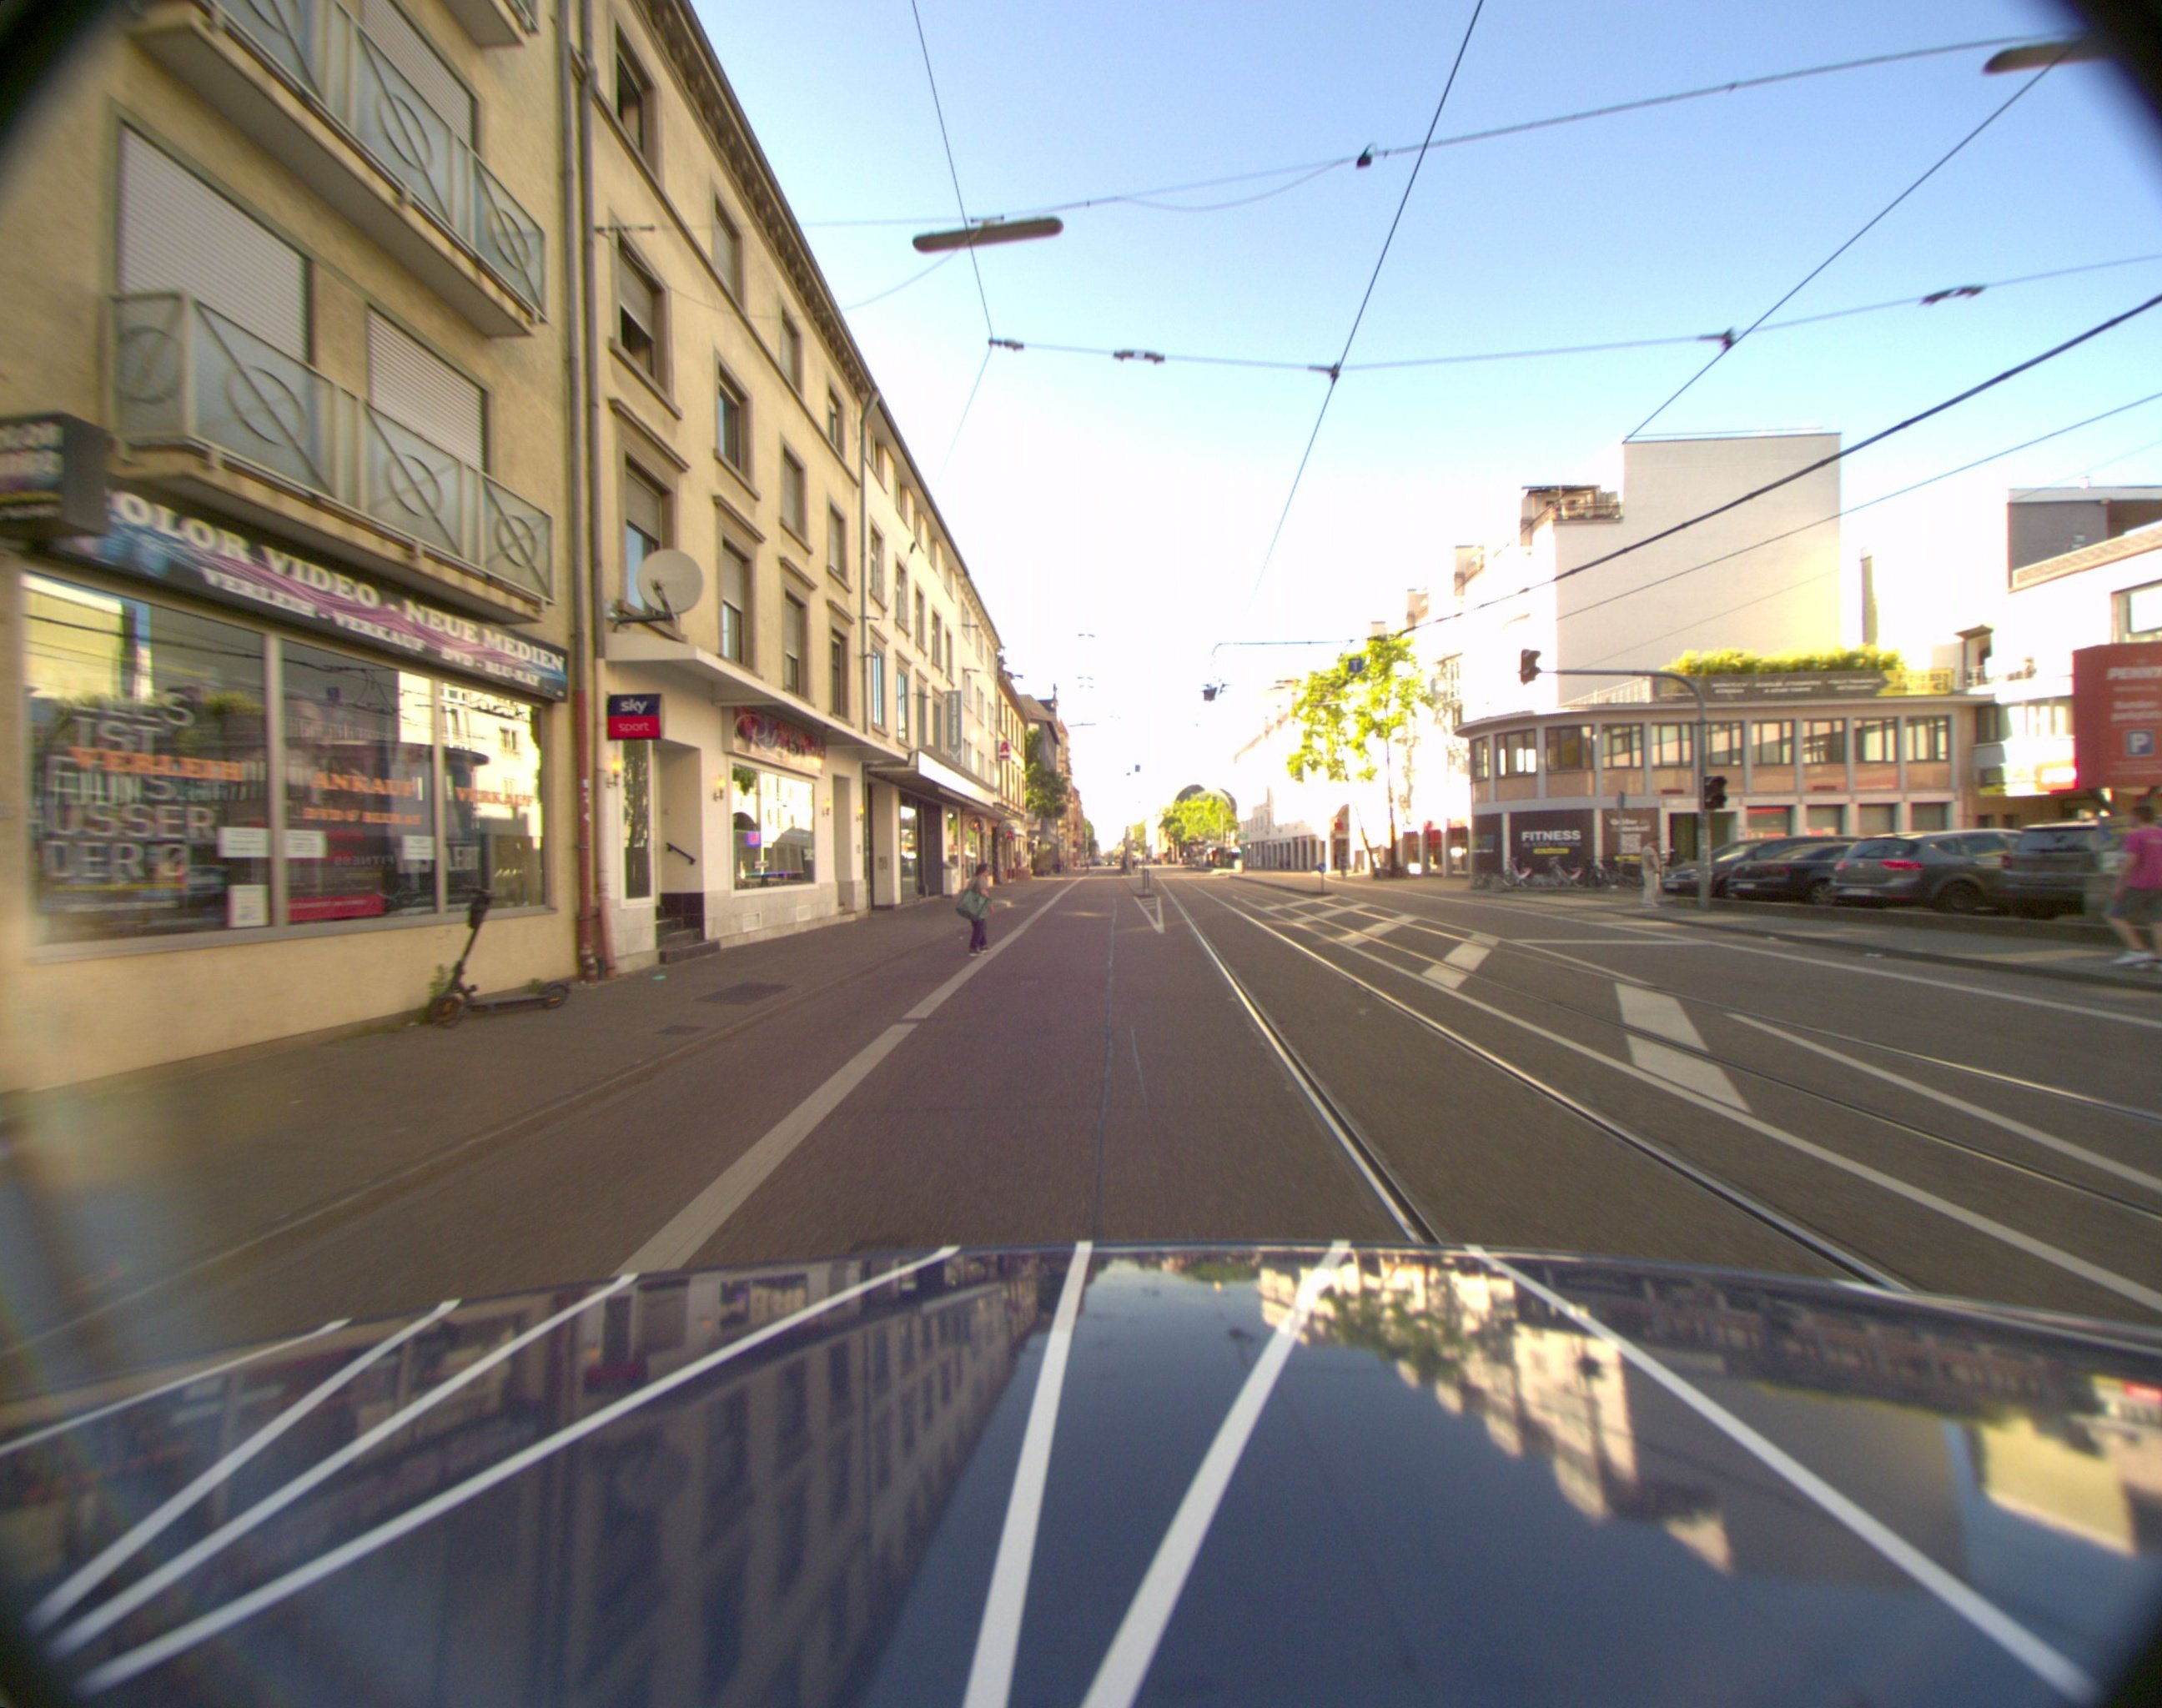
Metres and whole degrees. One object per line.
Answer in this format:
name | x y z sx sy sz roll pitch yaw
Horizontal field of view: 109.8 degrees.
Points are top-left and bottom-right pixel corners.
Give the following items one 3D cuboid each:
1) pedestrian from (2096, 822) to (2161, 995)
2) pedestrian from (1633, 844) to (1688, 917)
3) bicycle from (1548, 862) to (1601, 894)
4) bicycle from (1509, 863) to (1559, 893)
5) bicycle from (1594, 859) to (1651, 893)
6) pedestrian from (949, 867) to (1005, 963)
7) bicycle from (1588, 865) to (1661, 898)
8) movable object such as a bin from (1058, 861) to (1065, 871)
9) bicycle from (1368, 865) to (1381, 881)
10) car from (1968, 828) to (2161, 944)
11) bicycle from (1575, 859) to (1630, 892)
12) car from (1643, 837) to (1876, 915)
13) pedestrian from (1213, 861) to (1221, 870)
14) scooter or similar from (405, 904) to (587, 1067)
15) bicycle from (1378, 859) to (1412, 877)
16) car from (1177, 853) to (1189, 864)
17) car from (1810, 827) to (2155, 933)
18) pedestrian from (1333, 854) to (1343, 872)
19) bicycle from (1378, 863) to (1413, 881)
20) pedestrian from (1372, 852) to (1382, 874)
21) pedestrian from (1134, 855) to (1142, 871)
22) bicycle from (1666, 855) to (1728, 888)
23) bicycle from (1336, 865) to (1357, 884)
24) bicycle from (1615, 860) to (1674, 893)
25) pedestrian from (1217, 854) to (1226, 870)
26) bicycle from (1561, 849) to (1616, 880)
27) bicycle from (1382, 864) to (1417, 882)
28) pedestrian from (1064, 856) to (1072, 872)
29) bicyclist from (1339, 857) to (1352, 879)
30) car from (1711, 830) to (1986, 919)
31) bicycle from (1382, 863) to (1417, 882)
pedestrian | 12.392 0.601 8.676 0.639 1.935 0.709 -1 0 1
pedestrian | 14.234 0.636 18.689 0.715 1.753 0.780 -1 0 -5
bicycle | 16.934 0.806 26.122 0.464 1.073 1.878 -1 0 -6
bicycle | 16.279 0.852 27.347 0.525 1.030 1.878 -1 0 -6
bicycle | 18.597 0.737 26.139 0.464 1.071 1.878 -1 0 -5
pedestrian | -1.737 1.013 12.752 0.780 1.551 0.650 -1 0 4
bicycle | 17.600 0.878 24.641 1.874 1.030 0.426 -1 0 27
movable object such as a bin | -2.161 1.294 83.417 0.717 1.062 0.637 -2 0 1
bicycle | 17.919 1.166 46.405 0.470 0.926 1.755 -1 0 12
car | 16.696 0.479 11.775 3.698 1.663 1.785 1 0 2
bicycle | 17.951 0.714 26.213 0.464 1.081 1.878 -1 0 -5
car | 17.155 0.533 19.372 4.243 1.753 1.785 -2 0 2
pedestrian | 14.890 1.300 83.363 0.794 0.982 0.748 -1 0 3
scooter or similar | -5.290 1.132 6.958 0.410 1.274 1.285 -1 0 18
bicycle | 19.588 0.877 47.447 1.877 1.071 0.512 -1 0 7
car | 20.043 0.828 149.154 1.884 2.001 4.001 -3 -1 0
car | 16.758 0.472 14.312 4.243 1.801 1.785 -1 0 2
pedestrian | 24.337 0.829 71.909 0.747 1.635 0.731 -1 0 2
bicycle | 19.362 1.131 46.799 1.876 1.071 0.465 -1 0 10
pedestrian | 22.752 0.691 58.349 0.563 1.635 0.523 -1 0 2
pedestrian | 5.897 0.923 78.432 0.716 1.635 0.400 -1 1 4
bicycle | 21.193 0.589 26.188 0.464 1.071 1.878 -1 0 -7
bicycle | 16.885 1.283 48.398 0.565 1.117 2.004 -6 0 1
bicycle | 19.428 0.763 26.235 0.464 1.071 1.878 -1 0 -7
pedestrian | 14.605 0.824 79.254 0.794 1.635 0.748 -1 0 3
bicycle | 17.441 0.357 26.162 0.464 1.030 1.878 -1 0 -6
bicycle | 18.976 1.118 45.306 1.876 1.071 0.465 -1 0 10
pedestrian | -1.364 1.086 80.820 0.695 1.680 0.688 4 0 2
bicyclist | 16.845 0.876 48.426 0.564 1.354 0.718 0 1 -1
car | 16.965 0.442 16.964 4.243 1.801 1.785 -1 0 2
bicycle | 19.183 1.117 45.787 1.876 1.071 0.465 -1 0 10
